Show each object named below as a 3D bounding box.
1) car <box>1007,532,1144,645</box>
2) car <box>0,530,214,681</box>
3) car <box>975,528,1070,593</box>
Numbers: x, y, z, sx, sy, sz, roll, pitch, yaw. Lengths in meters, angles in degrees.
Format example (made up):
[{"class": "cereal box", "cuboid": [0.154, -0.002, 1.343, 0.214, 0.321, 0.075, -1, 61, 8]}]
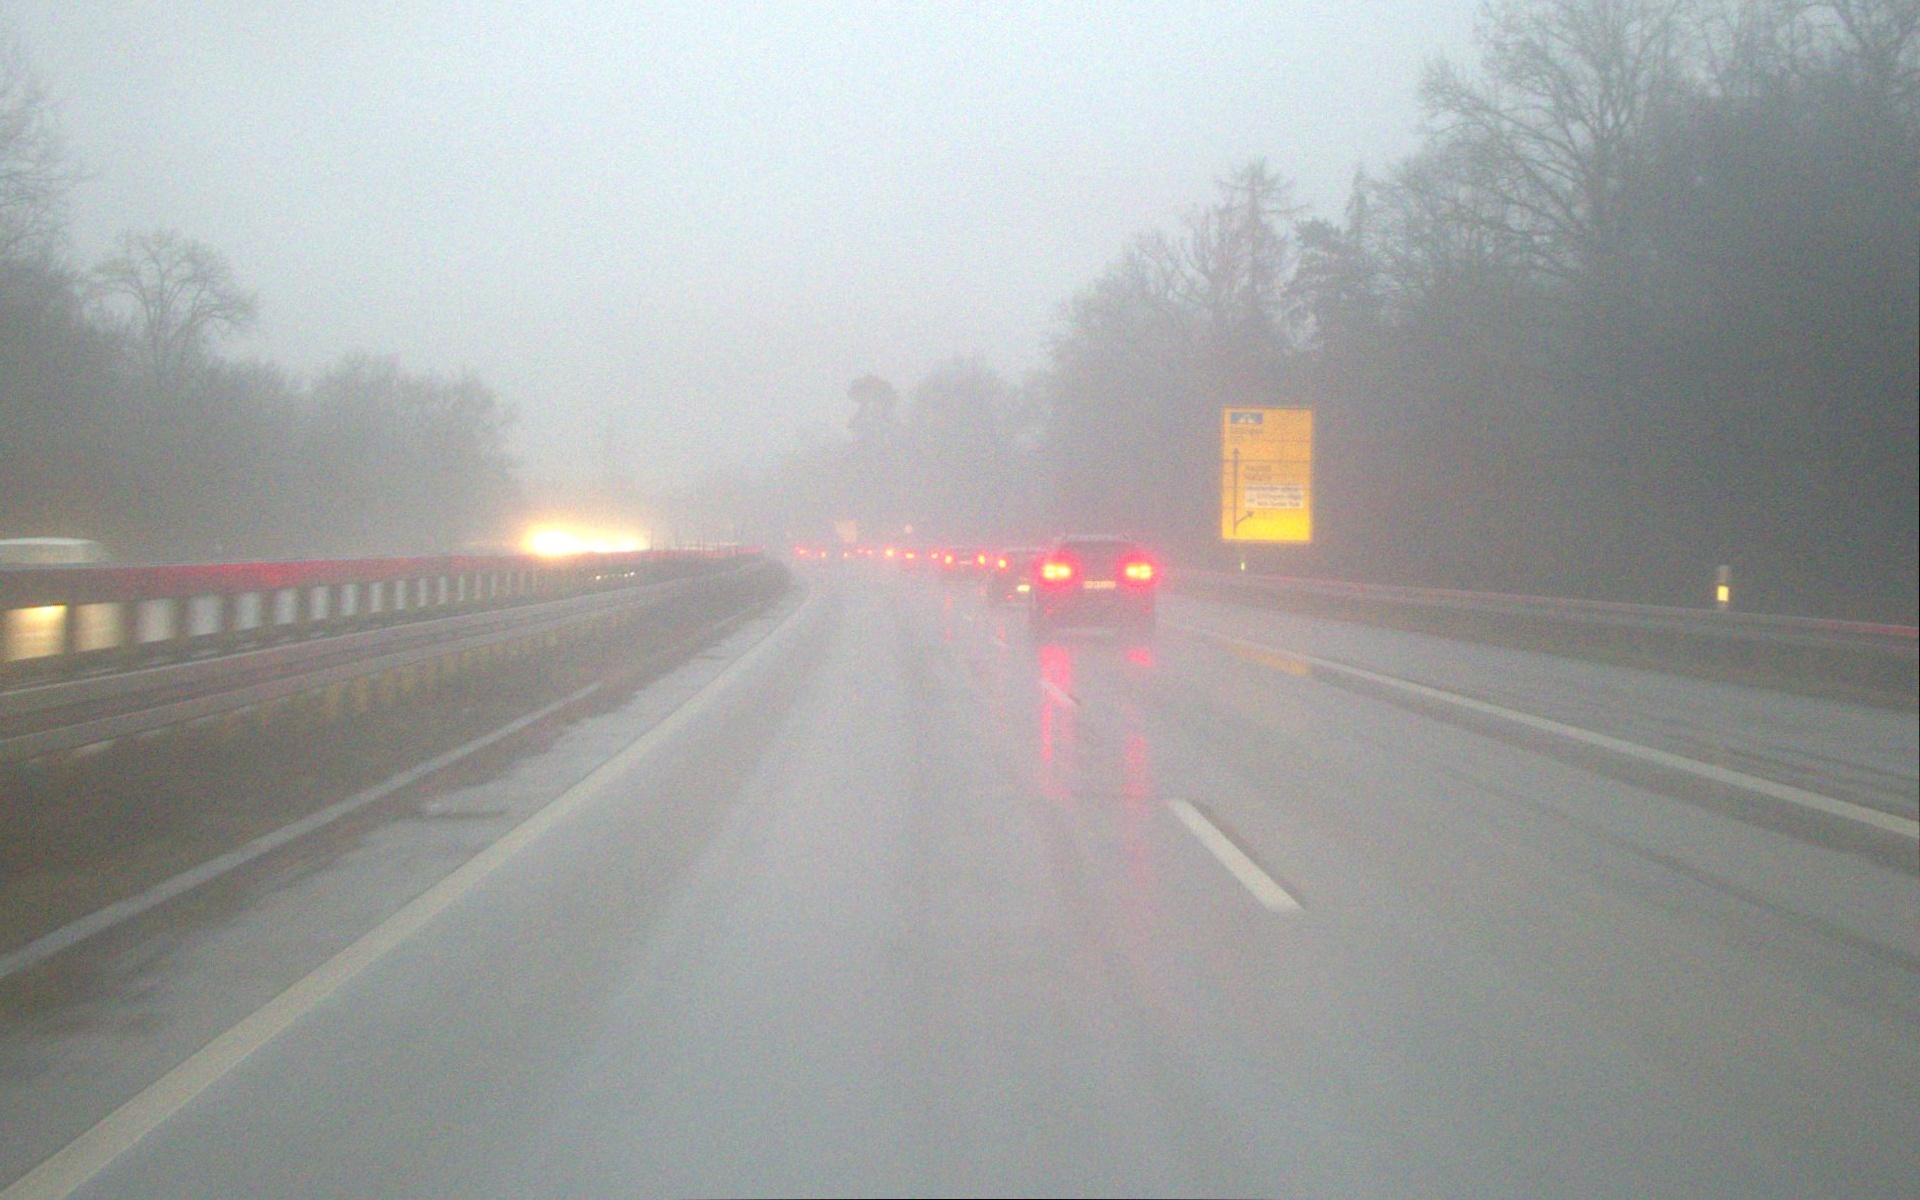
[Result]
[{"class": "car", "cuboid": [1.790, -0.190, 54.458, 1.992, 1.709, 3.830, 1, 1, 0]}, {"class": "car", "cuboid": [-11.000, 0.047, 44.182, 1.757, 1.829, 3.912, 1, 1, 4]}, {"class": "car", "cuboid": [1.453, -0.926, 81.533, 1.993, 1.415, 4.000, 2, 0, -2]}]
